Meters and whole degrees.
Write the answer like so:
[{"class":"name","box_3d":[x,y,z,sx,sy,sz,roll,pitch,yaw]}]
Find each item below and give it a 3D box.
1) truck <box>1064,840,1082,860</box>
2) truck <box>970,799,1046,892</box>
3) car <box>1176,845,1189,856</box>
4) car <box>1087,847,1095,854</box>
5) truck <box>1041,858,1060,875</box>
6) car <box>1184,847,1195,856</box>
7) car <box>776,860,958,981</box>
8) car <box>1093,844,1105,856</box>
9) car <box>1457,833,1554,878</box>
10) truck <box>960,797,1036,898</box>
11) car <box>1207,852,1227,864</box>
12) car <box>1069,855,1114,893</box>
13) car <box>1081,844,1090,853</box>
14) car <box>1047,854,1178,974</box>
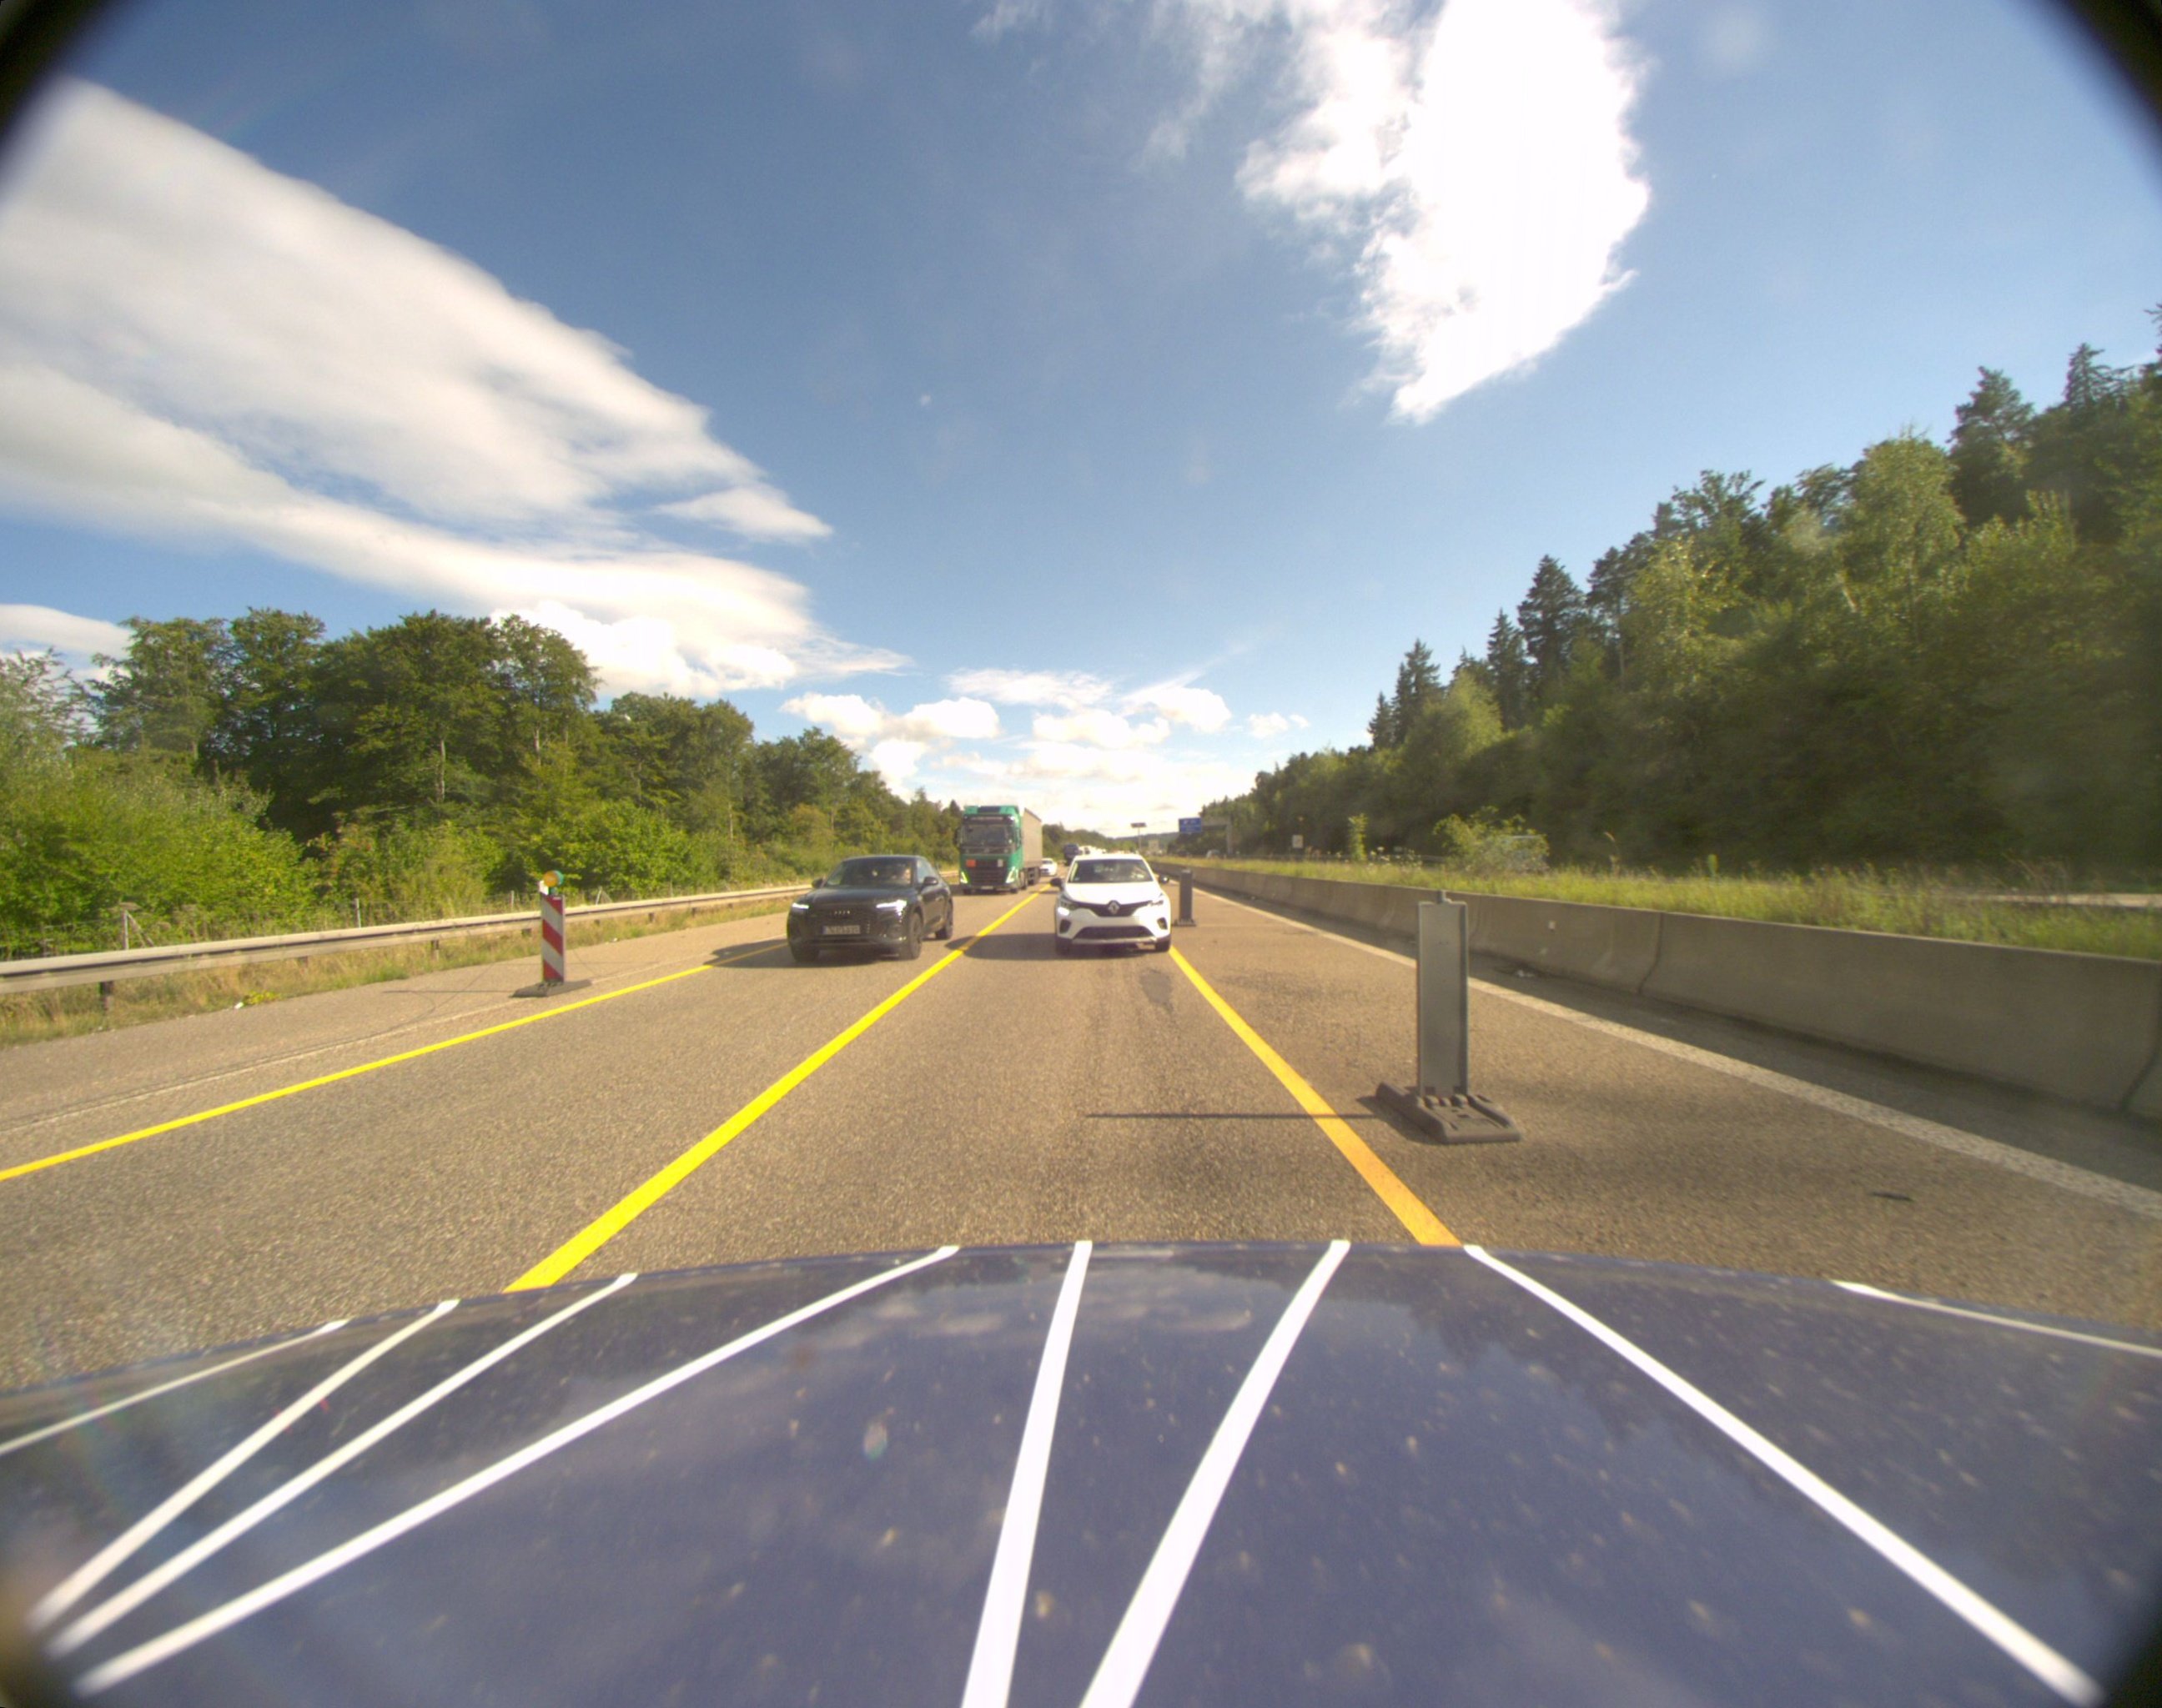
[{"class":"truck","box_3d":[-1.312,-0.629,127.704,2.576,3.167,6.802,-2,1,3]},{"class":"truck","box_3d":[-3.600,-0.353,41.151,2.470,4.119,14.210,-2,0,0]},{"class":"car","box_3d":[18.540,-0.716,139.130,1.782,1.891,4.617,-2,1,1]},{"class":"car","box_3d":[2.304,-0.838,181.238,1.750,1.787,3.999,-2,1,0]},{"class":"truck","box_3d":[-2.469,1.009,62.435,1.468,1.215,3.087,-2,1,-2]},{"class":"car","box_3d":[23.447,-0.595,164.666,1.782,1.891,4.617,-2,1,1]},{"class":"car","box_3d":[-3.384,0.959,12.931,1.782,1.593,4.293,-2,1,1]},{"class":"car","box_3d":[3.132,-0.684,131.029,1.998,2.002,3.999,-2,1,1]},{"class":"car","box_3d":[18.348,0.024,33.102,1.782,1.775,4.364,-2,1,1]},{"class":"truck","box_3d":[-3.611,-0.312,34.691,2.528,4.076,6.855,-2,1,0]},{"class":"car","box_3d":[17.099,0.467,95.668,1.782,1.448,4.104,-2,1,1]},{"class":"car","box_3d":[0.451,0.840,33.290,1.782,1.468,4.017,-2,1,1]},{"class":"car","box_3d":[1.006,-1.070,159.052,1.750,1.787,3.999,-2,1,0]},{"class":"car","box_3d":[0.466,0.839,12.626,1.782,1.593,4.017,-2,1,1]}]
